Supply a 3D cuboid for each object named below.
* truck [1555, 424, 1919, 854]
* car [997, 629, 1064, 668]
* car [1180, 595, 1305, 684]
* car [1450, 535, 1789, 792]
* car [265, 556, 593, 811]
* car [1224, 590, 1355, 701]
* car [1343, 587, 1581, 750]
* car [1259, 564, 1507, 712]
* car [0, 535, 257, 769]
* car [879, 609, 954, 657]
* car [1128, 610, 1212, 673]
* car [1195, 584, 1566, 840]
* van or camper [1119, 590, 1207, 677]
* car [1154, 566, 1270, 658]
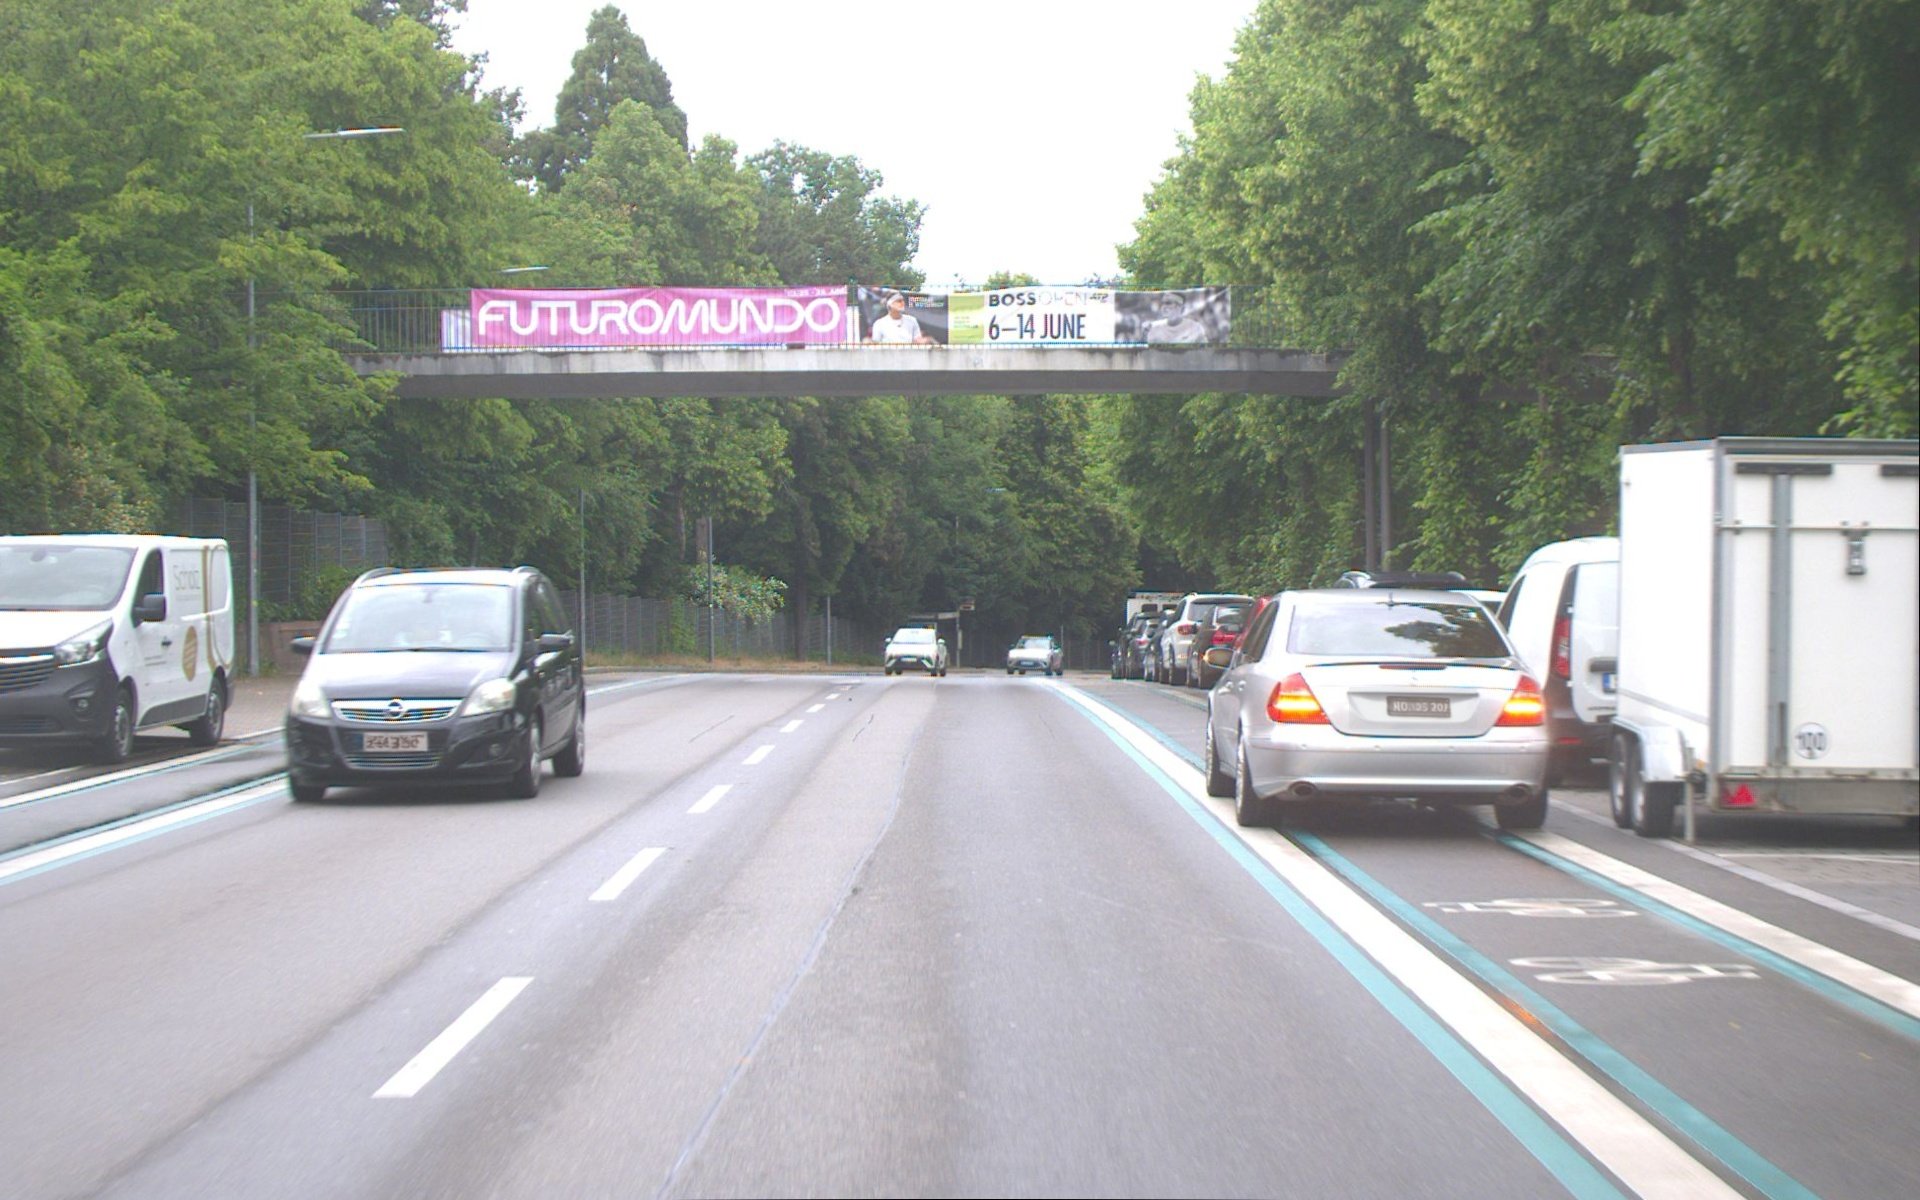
[{"bbox_3d":[4.807,0.195,20.696,1.719,2.325,4.000,1,1,0],"label":"truck"},{"bbox_3d":[2.916,2.004,141.905,1.797,1.571,4.099,0,-1,16],"label":"car"},{"bbox_3d":[4.677,0.683,57.323,1.672,1.389,4.450,1,-2,0],"label":"car"},{"bbox_3d":[4.929,0.423,26.258,1.722,1.784,4.345,1,1,0],"label":"car"},{"bbox_3d":[-3.749,0.526,24.925,1.710,1.612,4.150,-2,1,0],"label":"car"},{"bbox_3d":[4.812,0.641,50.543,1.559,1.461,3.626,1,1,0],"label":"car"},{"bbox_3d":[4.765,0.609,33.205,1.660,1.421,4.618,1,1,1],"label":"car"},{"bbox_3d":[4.711,0.382,38.919,1.993,1.555,4.643,1,1,-3],"label":"car"},{"bbox_3d":[-7.891,0.376,30.662,1.979,1.908,5.227,0,1,2],"label":"car"},{"bbox_3d":[-1.413,1.098,113.693,1.972,1.547,3.869,0,0,7],"label":"car"},{"bbox_3d":[4.761,0.965,78.363,1.775,1.344,4.465,1,-2,2],"label":"car"},{"bbox_3d":[2.522,0.620,21.629,1.721,1.393,4.591,0,1,-1],"label":"car"},{"bbox_3d":[6.506,1.088,109.745,2.317,2.656,6.379,1,-1,7],"label":"van or camper"},{"bbox_3d":[4.581,0.244,62.977,1.713,1.613,4.261,1,-1,-1],"label":"car"}]
